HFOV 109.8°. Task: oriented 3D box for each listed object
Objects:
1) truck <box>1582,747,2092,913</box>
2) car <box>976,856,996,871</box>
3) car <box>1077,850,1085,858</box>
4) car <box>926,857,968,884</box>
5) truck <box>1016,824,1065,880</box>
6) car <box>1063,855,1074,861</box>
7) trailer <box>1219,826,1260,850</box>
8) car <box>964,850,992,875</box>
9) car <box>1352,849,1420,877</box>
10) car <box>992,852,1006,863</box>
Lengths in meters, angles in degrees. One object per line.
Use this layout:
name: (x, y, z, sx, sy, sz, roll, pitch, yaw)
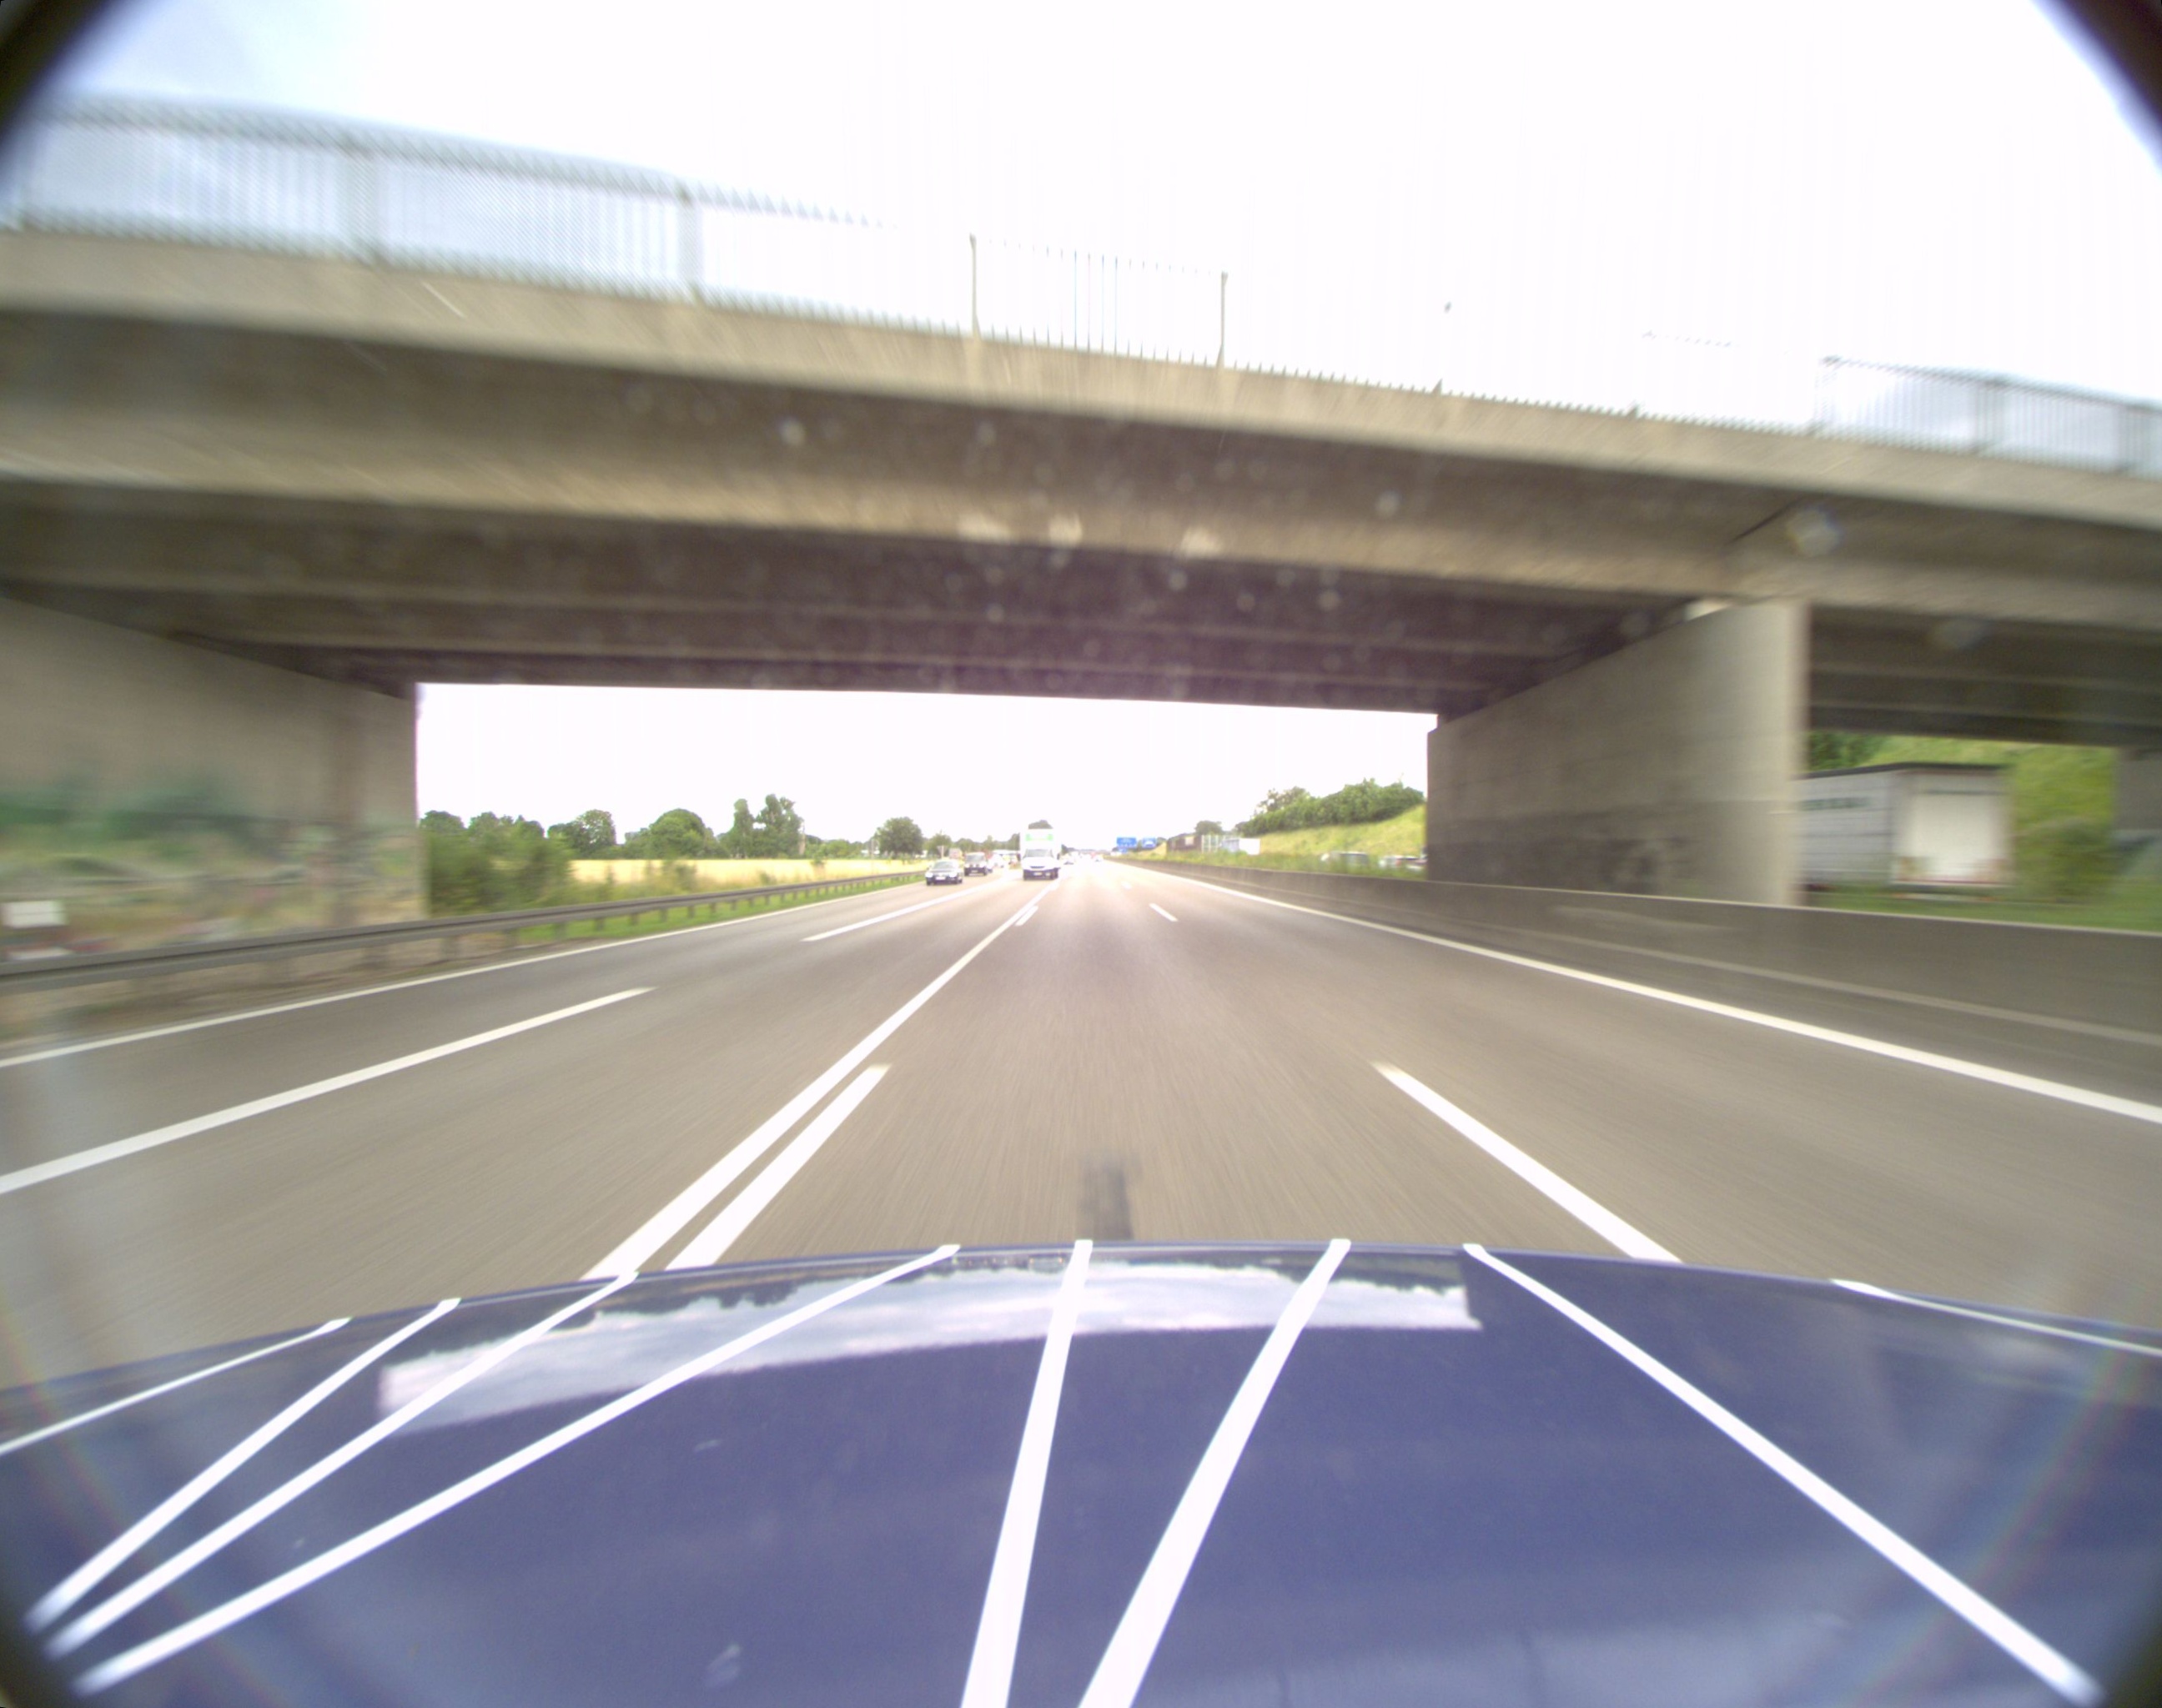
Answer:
truck: (21.310, -0.587, 23.598, 3.005, 3.662, 13.007, -1, 1, 1)
car: (-9.899, 0.938, 79.398, 1.755, 1.476, 4.592, -2, 0, -3)
car: (-0.069, -0.086, 197.291, 1.998, 2.002, 4.000, 0, 0, 1)
car: (-8.054, 0.972, 46.134, 1.923, 1.541, 4.922, 0, 0, -3)
truck: (-2.674, -0.126, 52.977, 2.777, 3.484, 9.061, -2, 0, 0)
car: (-2.273, 0.727, 138.409, 1.781, 1.180, 4.000, -1, 0, 0)
trailer: (21.835, -2.143, 105.500, 2.928, 2.938, 13.970, -2, 0, 1)
car: (-9.010, 0.703, 66.701, 2.150, 2.051, 4.955, -2, 0, -5)
car: (16.948, 0.485, 42.546, 1.731, 1.476, 4.923, 0, 0, -1)
car: (-13.129, 0.603, 121.640, 1.833, 1.746, 5.064, -1, 0, -2)
